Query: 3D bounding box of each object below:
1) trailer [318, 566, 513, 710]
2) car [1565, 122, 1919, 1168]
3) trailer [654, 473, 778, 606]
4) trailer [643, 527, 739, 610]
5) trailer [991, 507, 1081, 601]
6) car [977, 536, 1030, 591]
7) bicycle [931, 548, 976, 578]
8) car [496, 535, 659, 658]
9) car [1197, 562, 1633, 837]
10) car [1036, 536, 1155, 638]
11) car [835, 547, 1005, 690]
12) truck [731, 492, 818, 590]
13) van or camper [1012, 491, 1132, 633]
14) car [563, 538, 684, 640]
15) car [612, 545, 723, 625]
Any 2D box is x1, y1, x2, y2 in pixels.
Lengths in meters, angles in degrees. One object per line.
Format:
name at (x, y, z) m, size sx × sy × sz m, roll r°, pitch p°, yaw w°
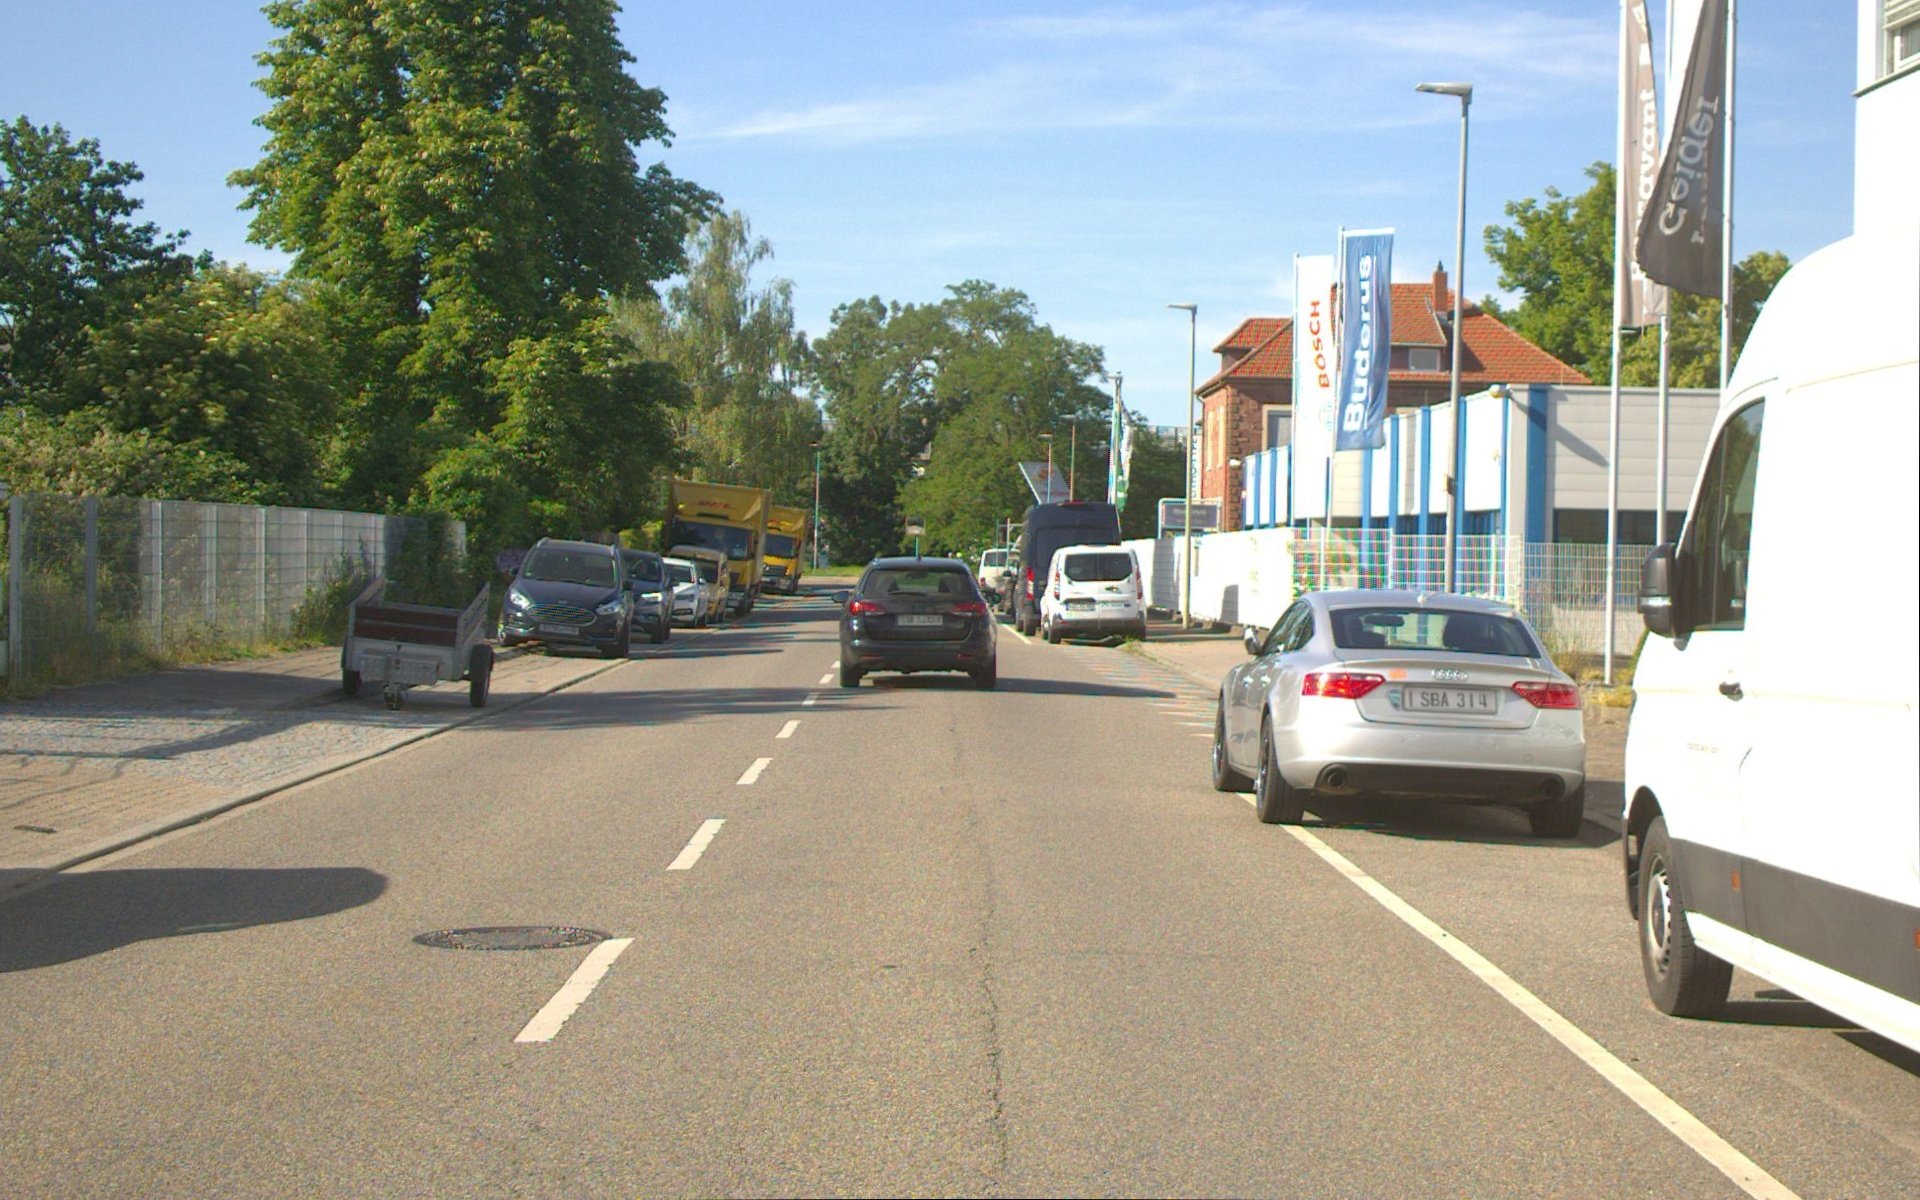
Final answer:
trailer at (-5.591, 0.359, 35.573) m, size 1.476 × 1.349 × 3.079 m, roll 3°, pitch 1°, yaw 0°
car at (3.338, 0.063, 9.836) m, size 1.993 × 2.589 × 6.052 m, roll -1°, pitch 2°, yaw -1°
trailer at (-6.653, -1.651, 94.640) m, size 2.991 × 3.431 × 8.162 m, roll 1°, pitch 1°, yaw -2°
trailer at (-6.526, -0.767, 83.741) m, size 1.993 × 1.935 × 4.415 m, roll 1°, pitch 1°, yaw 0°
trailer at (2.217, -1.363, 102.076) m, size 2.460 × 2.663 × 5.702 m, roll 1°, pitch 1°, yaw -1°
car at (1.661, -1.390, 132.131) m, size 1.874 × 2.007 × 5.160 m, roll 3°, pitch 0°, yaw 0°
bicycle at (-0.309, -1.669, 154.946) m, size 0.803 × 1.263 × 2.258 m, roll 3°, pitch 0°, yaw -35°
car at (-5.910, -0.100, 53.620) m, size 1.792 × 1.725 × 4.802 m, roll 3°, pitch 1°, yaw 1°
car at (2.653, 0.520, 21.271) m, size 1.894 × 1.400 × 5.124 m, roll 3°, pitch 0°, yaw -1°
car at (2.541, -0.262, 65.618) m, size 1.885 × 1.791 × 5.104 m, roll 3°, pitch 0°, yaw -1°
car at (-0.432, 0.173, 39.744) m, size 1.847 × 1.525 × 4.000 m, roll 1°, pitch 1°, yaw 0°
truck at (-7.388, -2.437, 138.237) m, size 2.631 × 3.493 × 8.657 m, roll 7°, pitch 2°, yaw 0°
van or camper at (2.291, -0.788, 72.053) m, size 2.141 × 2.750 × 6.161 m, roll 3°, pitch 0°, yaw 0°
car at (-6.266, -0.244, 64.444) m, size 1.908 × 1.657 × 4.464 m, roll 5°, pitch 1°, yaw -3°
car at (-6.580, -0.363, 77.818) m, size 1.908 × 1.587 × 5.025 m, roll 6°, pitch 1°, yaw 0°
